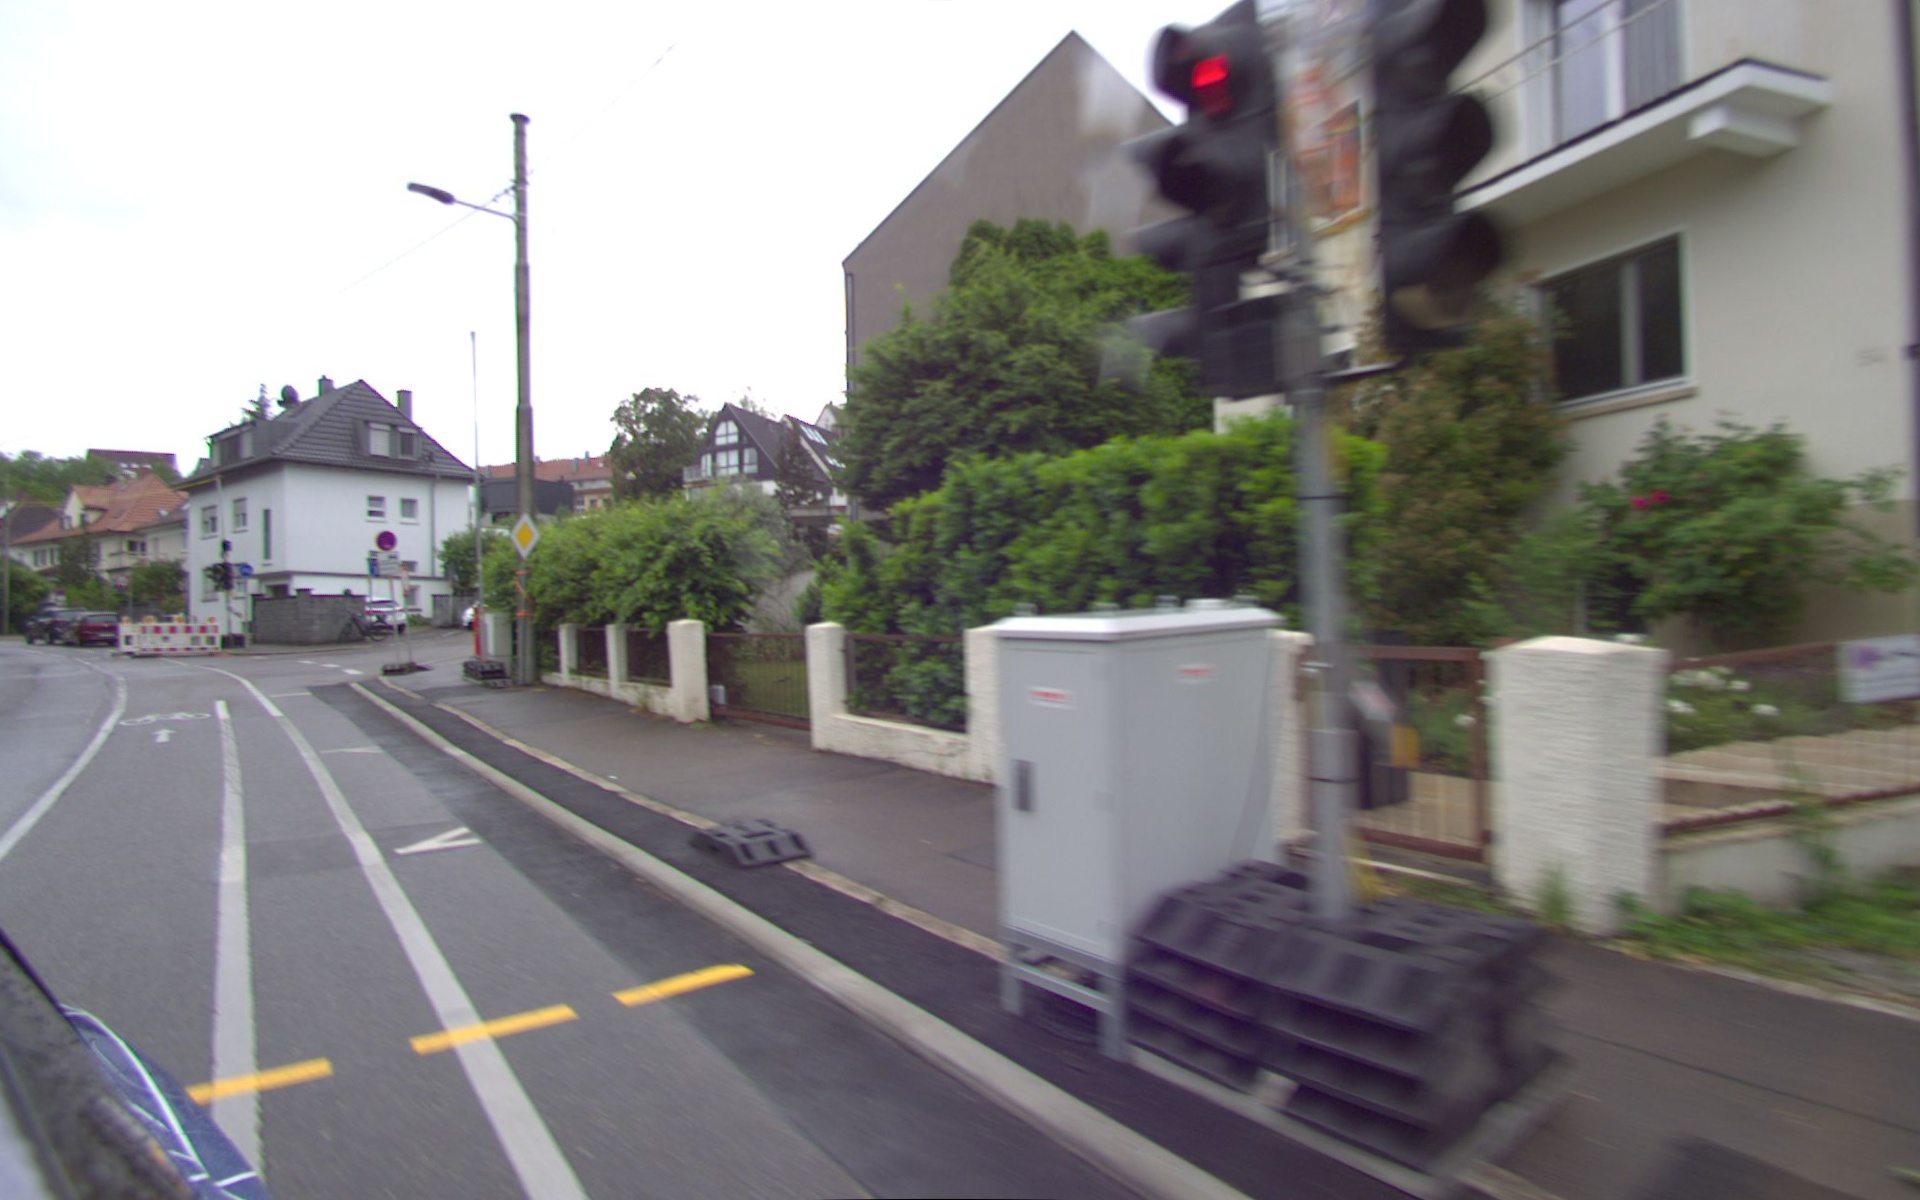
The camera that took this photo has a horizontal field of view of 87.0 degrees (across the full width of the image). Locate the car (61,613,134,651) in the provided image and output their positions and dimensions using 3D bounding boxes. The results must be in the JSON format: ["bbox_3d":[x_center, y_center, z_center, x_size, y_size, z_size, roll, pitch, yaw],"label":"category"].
[{"bbox_3d":[-37.071,1.382,43.478,3.795,1.505,1.872,-4,-3,41],"label":"car"}]

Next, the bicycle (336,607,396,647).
[{"bbox_3d":[-21.182,0.953,36.109,0.707,1.321,1.709,-1,1,42],"label":"bicycle"}]

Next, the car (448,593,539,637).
[{"bbox_3d":[-19.761,0.615,43.012,1.731,1.476,3.552,-3,4,9],"label":"car"}]

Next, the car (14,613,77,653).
[{"bbox_3d":[-41.634,1.516,46.053,4.004,1.601,1.648,-4,-1,41],"label":"car"}]
